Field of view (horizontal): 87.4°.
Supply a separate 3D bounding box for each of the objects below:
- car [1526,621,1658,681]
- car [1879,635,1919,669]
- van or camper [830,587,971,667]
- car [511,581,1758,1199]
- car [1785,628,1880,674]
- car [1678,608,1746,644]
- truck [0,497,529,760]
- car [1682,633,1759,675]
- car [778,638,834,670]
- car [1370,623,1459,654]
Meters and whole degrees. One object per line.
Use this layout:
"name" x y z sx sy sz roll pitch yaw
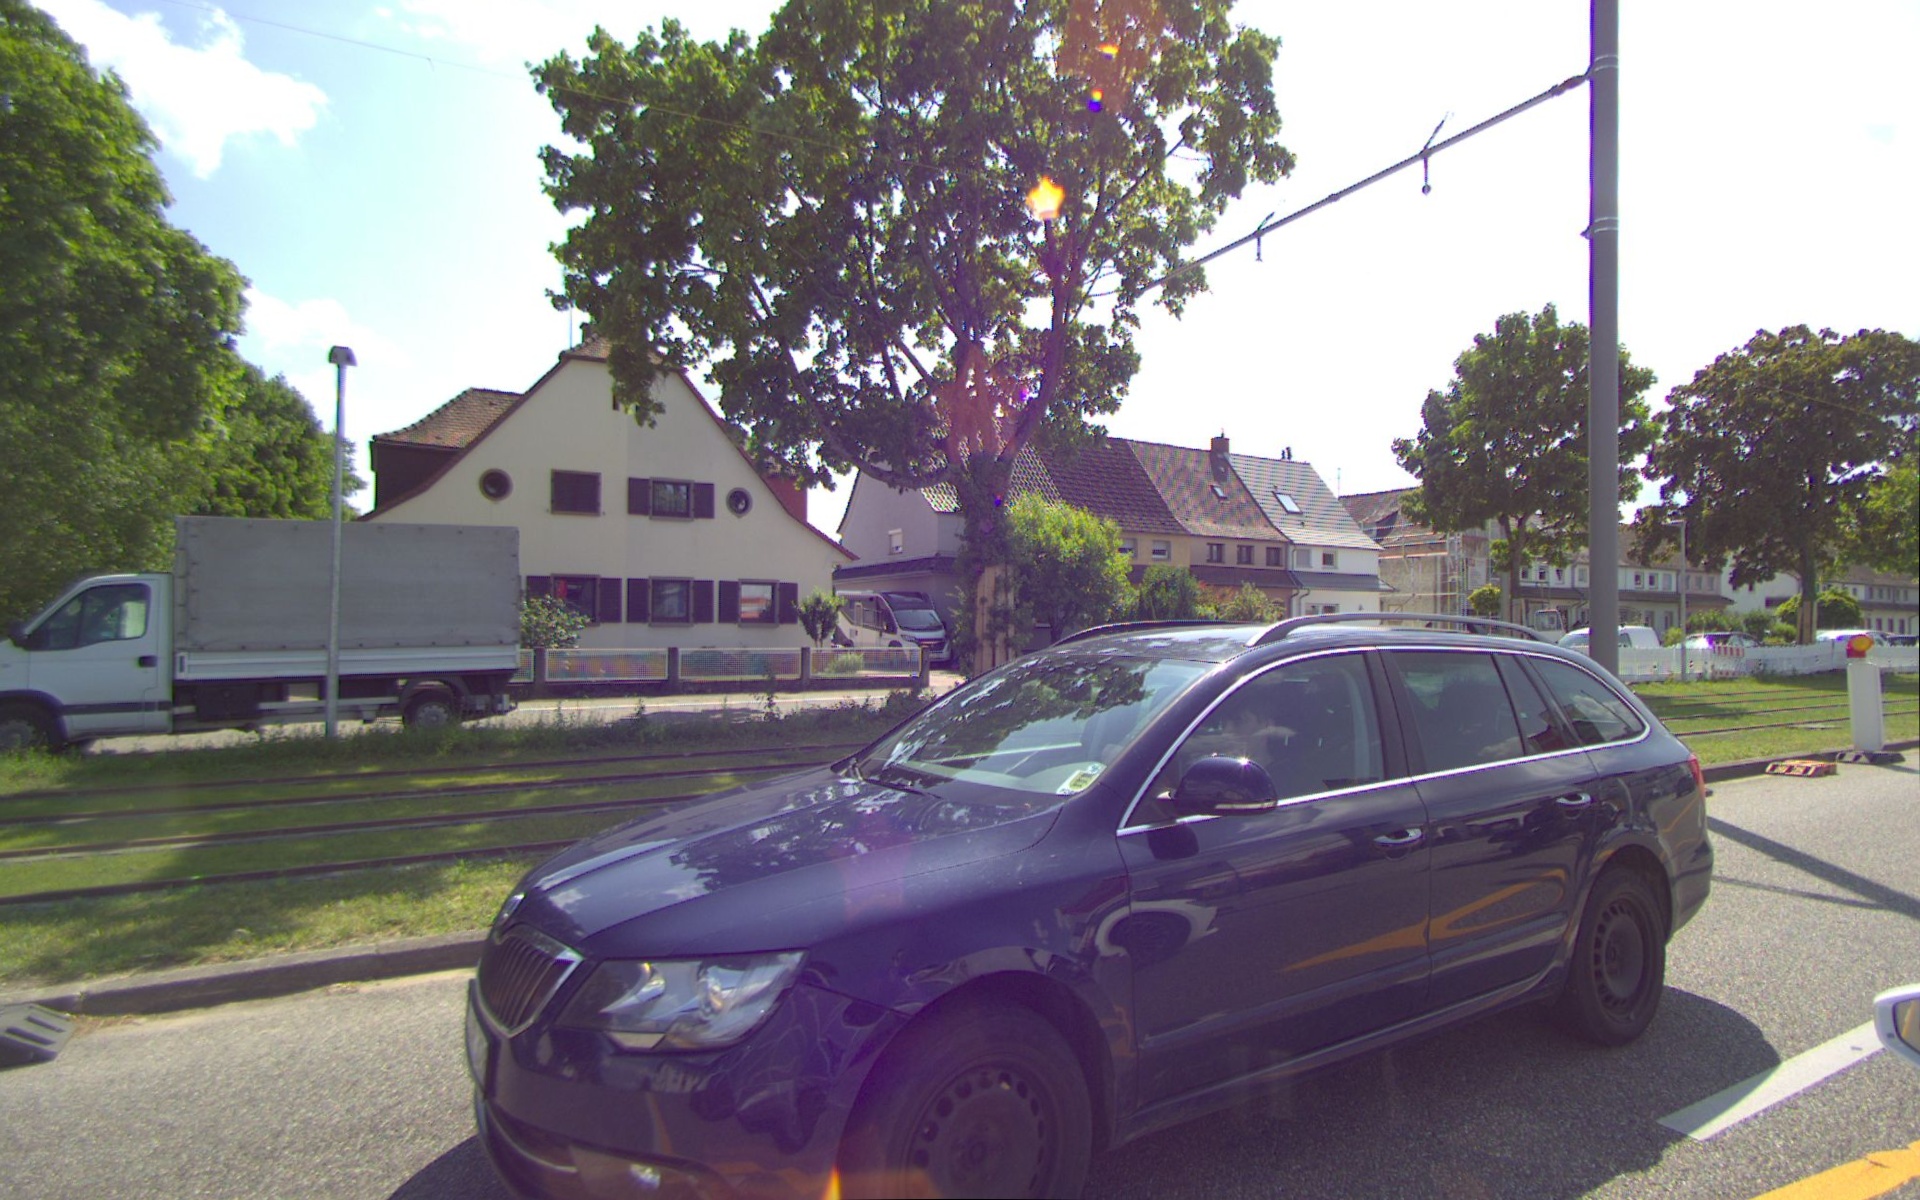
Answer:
"car" 18.485 1.498 29.366 3.954 1.647 1.645 2 -3 -31
"car" 40.246 2.183 42.378 3.078 1.395 1.344 2 -3 -31
"van or camper" -2.330 0.891 36.622 2.471 2.667 6.301 2 0 -31
"car" 0.925 0.803 3.655 4.486 1.506 1.702 1 -3 -32
"car" 33.526 1.960 38.591 3.854 1.673 1.615 2 -3 -31
"car" 46.264 1.603 61.794 3.954 2.040 1.983 2 0 -31
"truck" -8.957 0.363 13.071 5.882 2.842 2.353 2 0 -30
"car" 25.185 1.792 33.249 2.417 1.365 1.069 2 -3 -27
"car" -6.698 2.311 43.513 1.330 1.189 2.846 2 0 -33
"car" 20.129 1.732 44.462 4.073 1.291 1.527 2 -3 -31
